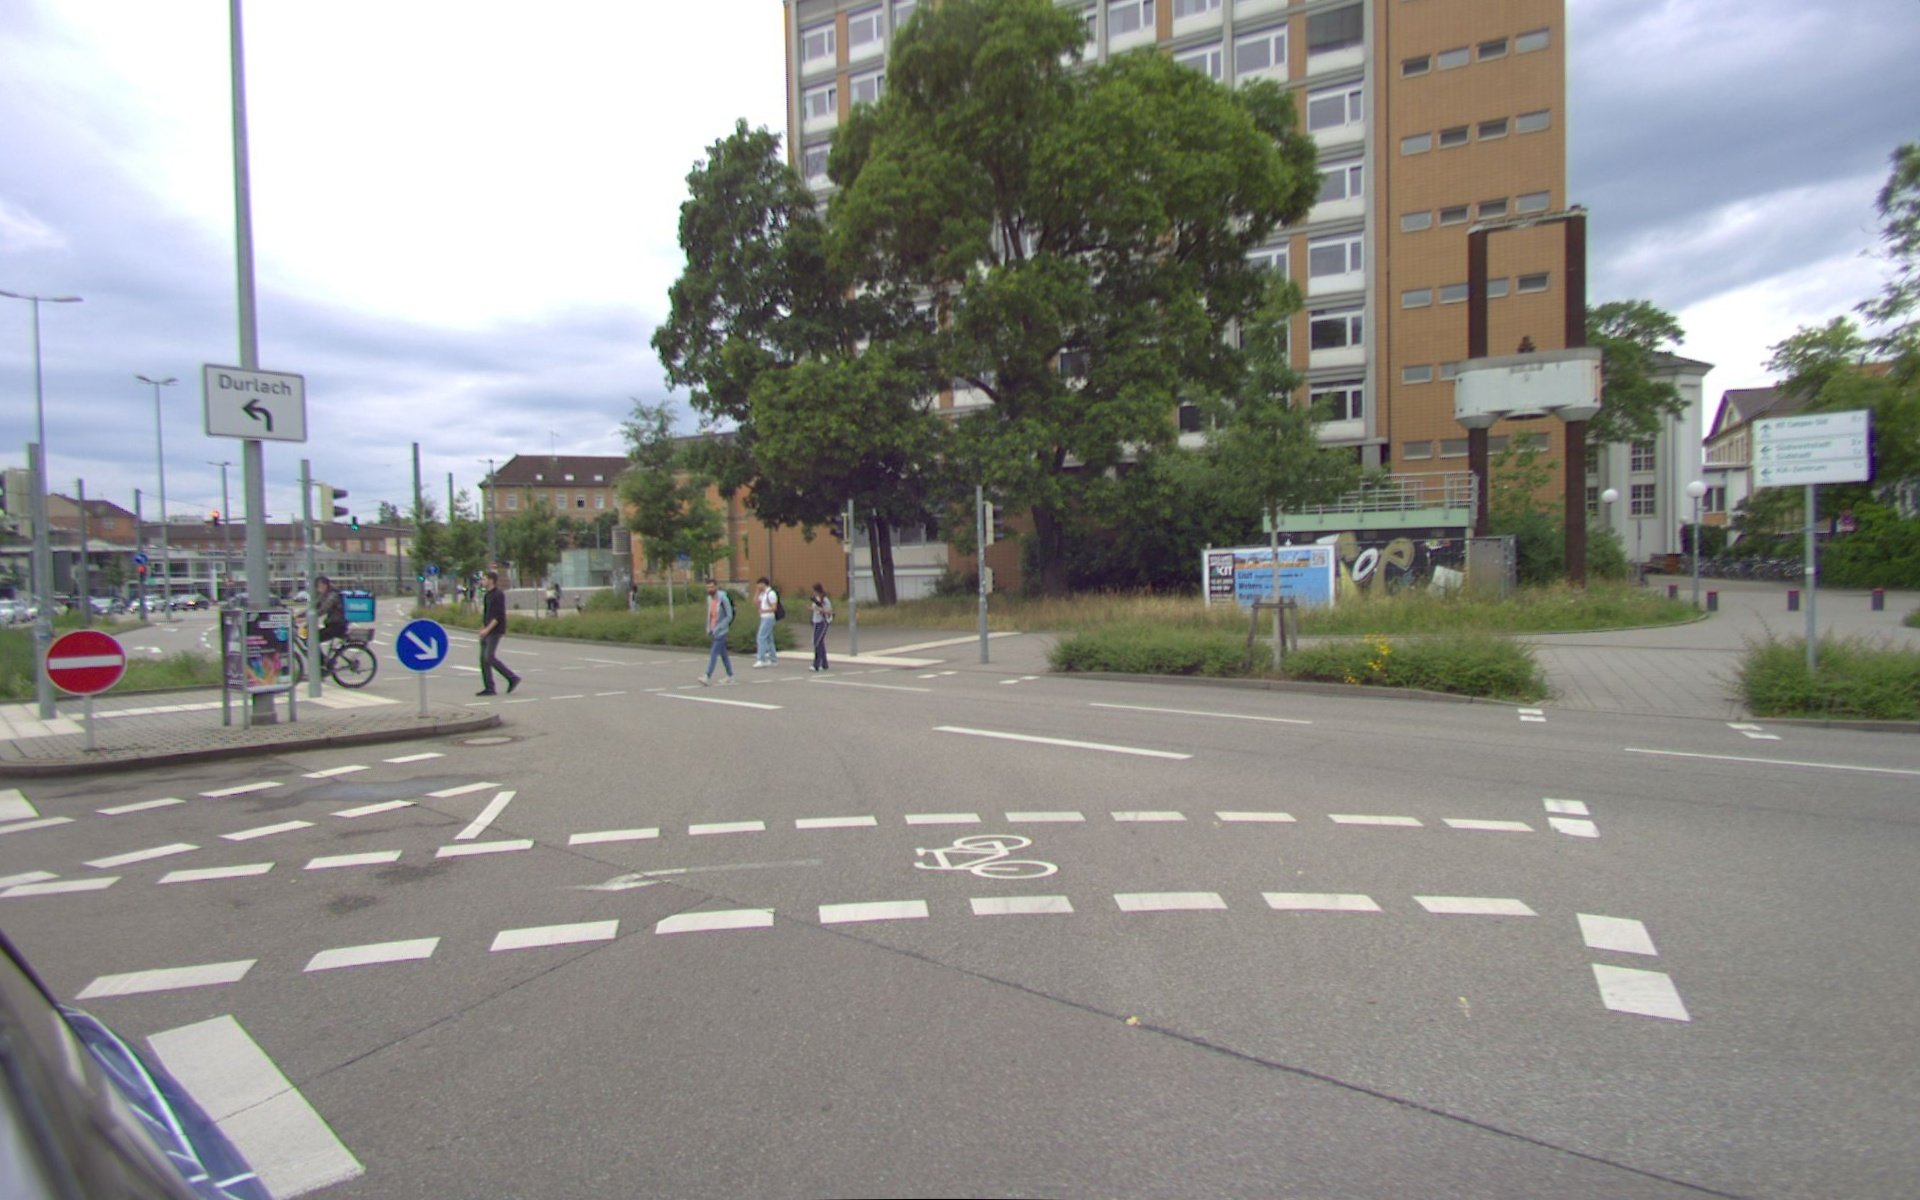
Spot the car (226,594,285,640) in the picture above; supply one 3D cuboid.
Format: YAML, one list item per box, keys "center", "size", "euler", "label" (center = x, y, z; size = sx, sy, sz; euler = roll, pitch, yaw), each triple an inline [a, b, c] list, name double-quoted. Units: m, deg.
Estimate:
- center: [-28.125, 0.618, 40.380]
  size: [1.787, 1.679, 3.958]
  euler: [-1, 1, -37]
  label: "car"

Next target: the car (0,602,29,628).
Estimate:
- center: [-61.811, 0.982, 65.508]
  size: [1.776, 1.608, 3.769]
  euler: [-1, 0, -34]
  label: "car"

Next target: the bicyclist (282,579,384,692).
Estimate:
- center: [-10.141, 0.545, 16.395]
  size: [0.805, 1.749, 1.178]
  euler: [-1, 0, 36]
  label: "bicyclist"

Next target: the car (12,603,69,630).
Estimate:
- center: [-65.035, 1.140, 71.634]
  size: [1.965, 1.829, 4.013]
  euler: [-1, 0, -27]
  label: "car"

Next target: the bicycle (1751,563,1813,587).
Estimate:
- center: [36.752, -1.096, 45.271]
  size: [0.809, 1.004, 2.030]
  euler: [-1, 0, -40]
  label: "bicycle"

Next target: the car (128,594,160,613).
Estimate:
- center: [-74.372, 0.321, 92.251]
  size: [1.583, 1.608, 3.771]
  euler: [-1, 0, -28]
  label: "car"

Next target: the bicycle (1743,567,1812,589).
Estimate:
- center: [37.467, -1.016, 46.410]
  size: [0.842, 0.946, 2.351]
  euler: [-1, 0, -40]
  label: "bicycle"

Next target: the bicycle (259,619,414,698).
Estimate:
- center: [-10.097, 0.917, 16.459]
  size: [0.805, 1.151, 1.982]
  euler: [-1, 0, 35]
  label: "bicycle"

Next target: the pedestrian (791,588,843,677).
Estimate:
- center: [-2.743, 0.609, 19.448]
  size: [0.702, 1.680, 0.772]
  euler: [-1, 0, 23]
  label: "pedestrian"

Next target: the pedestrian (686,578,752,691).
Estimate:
- center: [-4.017, 0.555, 16.886]
  size: [0.906, 1.818, 0.541]
  euler: [-1, 0, -43]
  label: "pedestrian"

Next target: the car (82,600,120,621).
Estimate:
- center: [-70.831, 0.861, 83.459]
  size: [1.583, 1.608, 3.771]
  euler: [-1, 0, -28]
  label: "car"

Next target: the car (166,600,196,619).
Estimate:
- center: [-70.928, 0.852, 92.170]
  size: [1.583, 1.608, 3.771]
  euler: [-1, 0, -28]
  label: "car"

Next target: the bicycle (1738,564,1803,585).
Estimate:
- center: [38.312, -1.201, 47.856]
  size: [2.346, 0.946, 0.844]
  euler: [-1, 0, 41]
  label: "bicycle"

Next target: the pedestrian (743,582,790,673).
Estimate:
- center: [-3.963, 0.554, 20.758]
  size: [0.732, 1.818, 0.766]
  euler: [-1, 0, 9]
  label: "pedestrian"
